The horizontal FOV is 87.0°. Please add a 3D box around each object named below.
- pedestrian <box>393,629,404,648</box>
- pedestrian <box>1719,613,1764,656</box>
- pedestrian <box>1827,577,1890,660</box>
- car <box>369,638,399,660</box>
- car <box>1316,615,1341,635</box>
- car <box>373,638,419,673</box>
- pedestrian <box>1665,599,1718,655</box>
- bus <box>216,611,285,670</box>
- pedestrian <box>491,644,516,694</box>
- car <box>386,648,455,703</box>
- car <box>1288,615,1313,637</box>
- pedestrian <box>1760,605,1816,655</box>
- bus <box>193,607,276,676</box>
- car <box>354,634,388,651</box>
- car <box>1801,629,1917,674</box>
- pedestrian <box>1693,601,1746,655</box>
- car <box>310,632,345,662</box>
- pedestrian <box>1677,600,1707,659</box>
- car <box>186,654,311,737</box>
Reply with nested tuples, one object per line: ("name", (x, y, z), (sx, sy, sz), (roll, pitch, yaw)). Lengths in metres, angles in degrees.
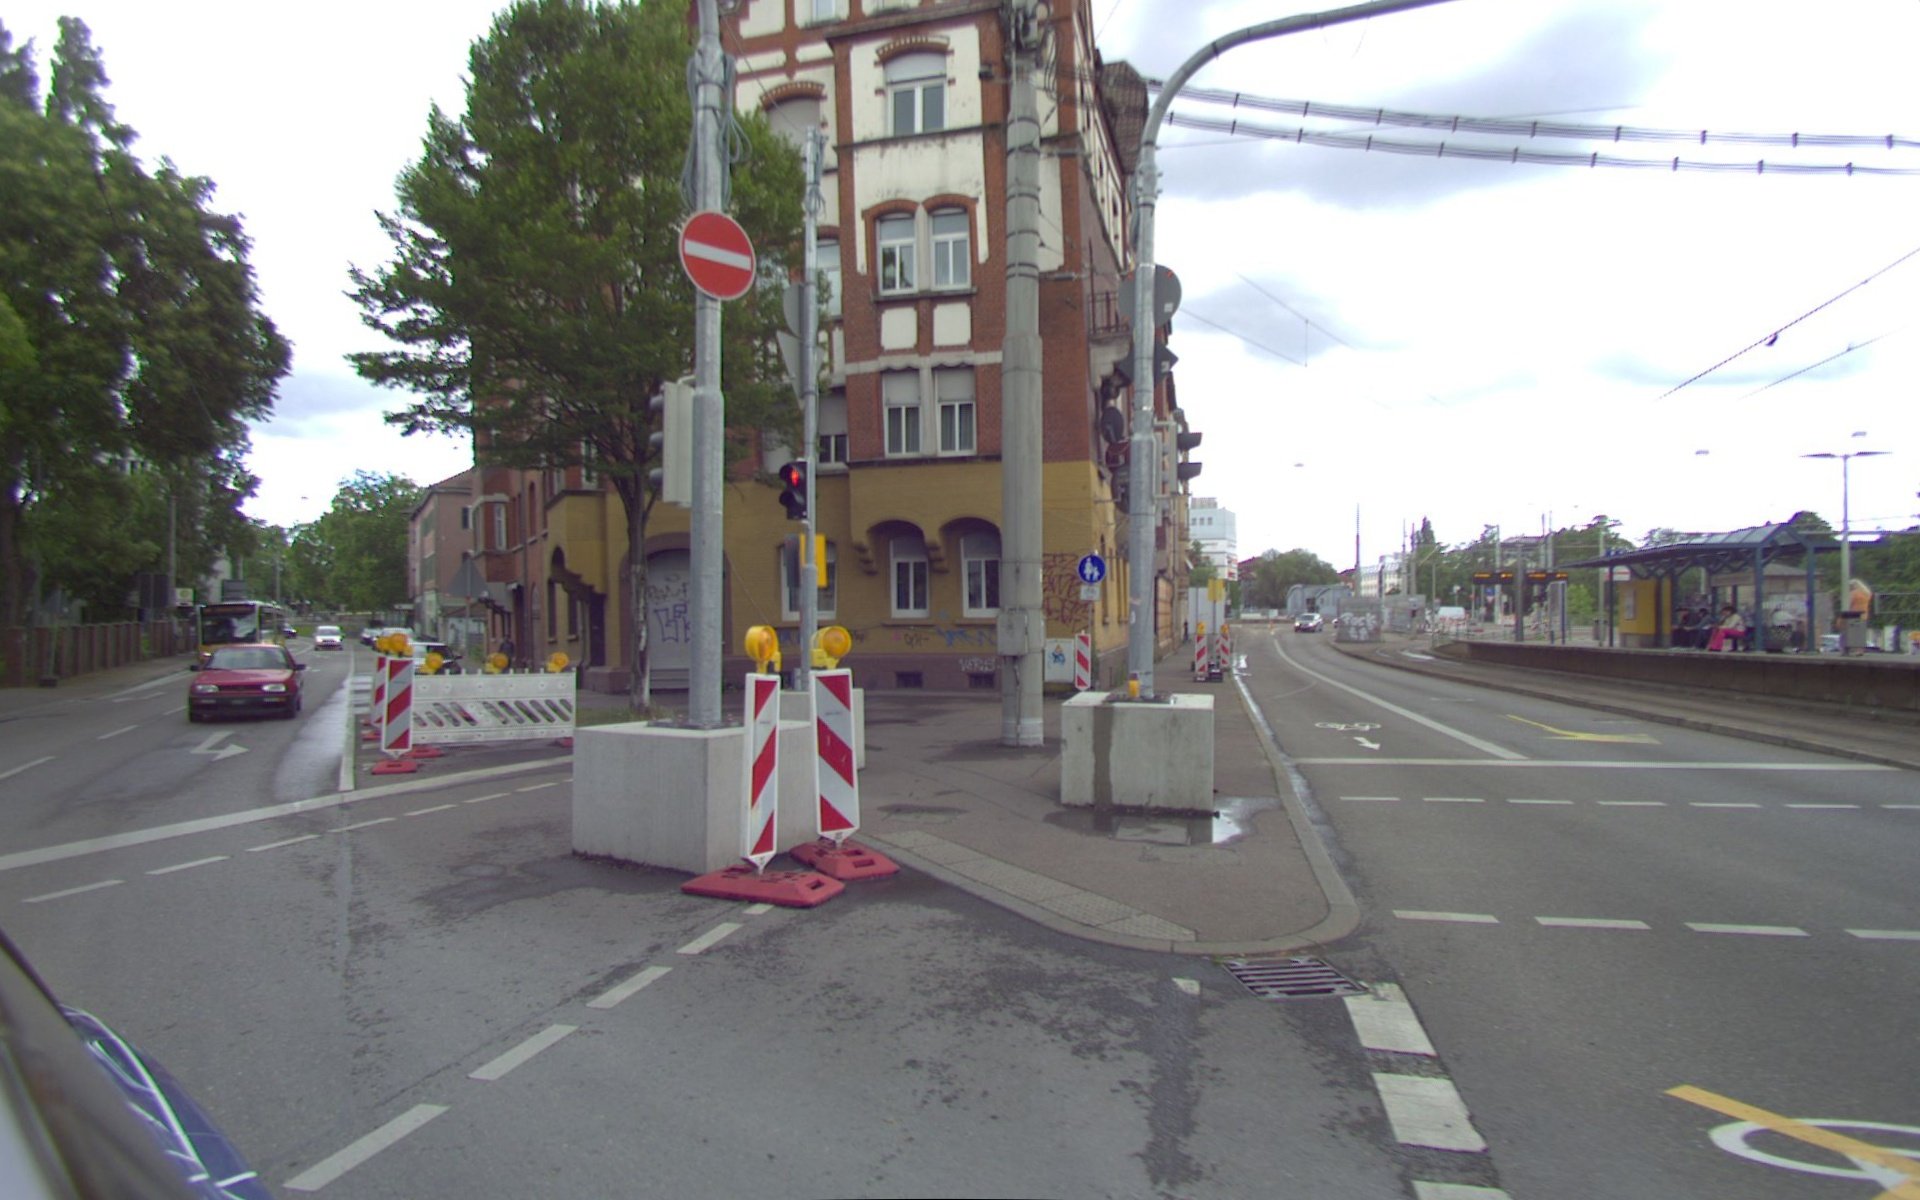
("pedestrian", (-51.543, 3.538, 92.943), (0.751, 1.757, 0.987), (-2, -2, -34))
("pedestrian", (18.327, 0.812, 23.741), (0.657, 0.986, 0.511), (0, -2, 14))
("pedestrian", (18.642, 0.389, 21.007), (0.771, 1.689, 0.539), (0, -2, 14))
("car", (-43.948, 3.721, 77.144), (1.852, 1.497, 4.139), (-2, 0, -31))
("car", (35.561, 2.365, 97.755), (1.982, 1.674, 3.981), (0, 2, 15))
("car", (-29.942, 2.924, 53.688), (1.927, 1.747, 4.787), (0, -2, -31))
("pedestrian", (18.504, 0.679, 25.617), (0.814, 1.383, 0.931), (0, -1, 15))
("bus", (-42.276, 2.361, 60.549), (2.626, 3.160, 10.069), (-2, -1, -31))
("pedestrian", (-15.315, 2.309, 33.928), (0.651, 1.621, 0.634), (-2, -2, -31))
("car", (-16.568, 2.288, 30.982), (1.701, 1.497, 4.403), (-1, -3, -30))
("car", (30.028, 2.245, 89.445), (1.983, 1.674, 3.977), (0, 2, 17))
("pedestrian", (19.265, 0.695, 23.567), (0.814, 1.131, 0.648), (0, -1, 16))
("bus", (-37.313, 2.072, 52.293), (2.635, 3.162, 9.244), (-2, -1, -31))
("car", (-53.298, 3.832, 91.536), (1.806, 1.466, 4.929), (0, -1, -40))
("car", (34.635, 1.945, 39.118), (1.741, 1.564, 3.980), (1, -1, 15))
("pedestrian", (18.408, 0.681, 24.548), (0.802, 1.279, 0.770), (0, -1, 16))
("car", (-46.848, 3.465, 75.051), (2.039, 1.798, 4.472), (-2, 3, -30))
("pedestrian", (20.532, 0.822, 28.386), (0.586, 1.653, 0.483), (1, -1, -29))
("car", (-14.084, 1.792, 20.049), (1.821, 1.433, 4.183), (2, -3, -36))
